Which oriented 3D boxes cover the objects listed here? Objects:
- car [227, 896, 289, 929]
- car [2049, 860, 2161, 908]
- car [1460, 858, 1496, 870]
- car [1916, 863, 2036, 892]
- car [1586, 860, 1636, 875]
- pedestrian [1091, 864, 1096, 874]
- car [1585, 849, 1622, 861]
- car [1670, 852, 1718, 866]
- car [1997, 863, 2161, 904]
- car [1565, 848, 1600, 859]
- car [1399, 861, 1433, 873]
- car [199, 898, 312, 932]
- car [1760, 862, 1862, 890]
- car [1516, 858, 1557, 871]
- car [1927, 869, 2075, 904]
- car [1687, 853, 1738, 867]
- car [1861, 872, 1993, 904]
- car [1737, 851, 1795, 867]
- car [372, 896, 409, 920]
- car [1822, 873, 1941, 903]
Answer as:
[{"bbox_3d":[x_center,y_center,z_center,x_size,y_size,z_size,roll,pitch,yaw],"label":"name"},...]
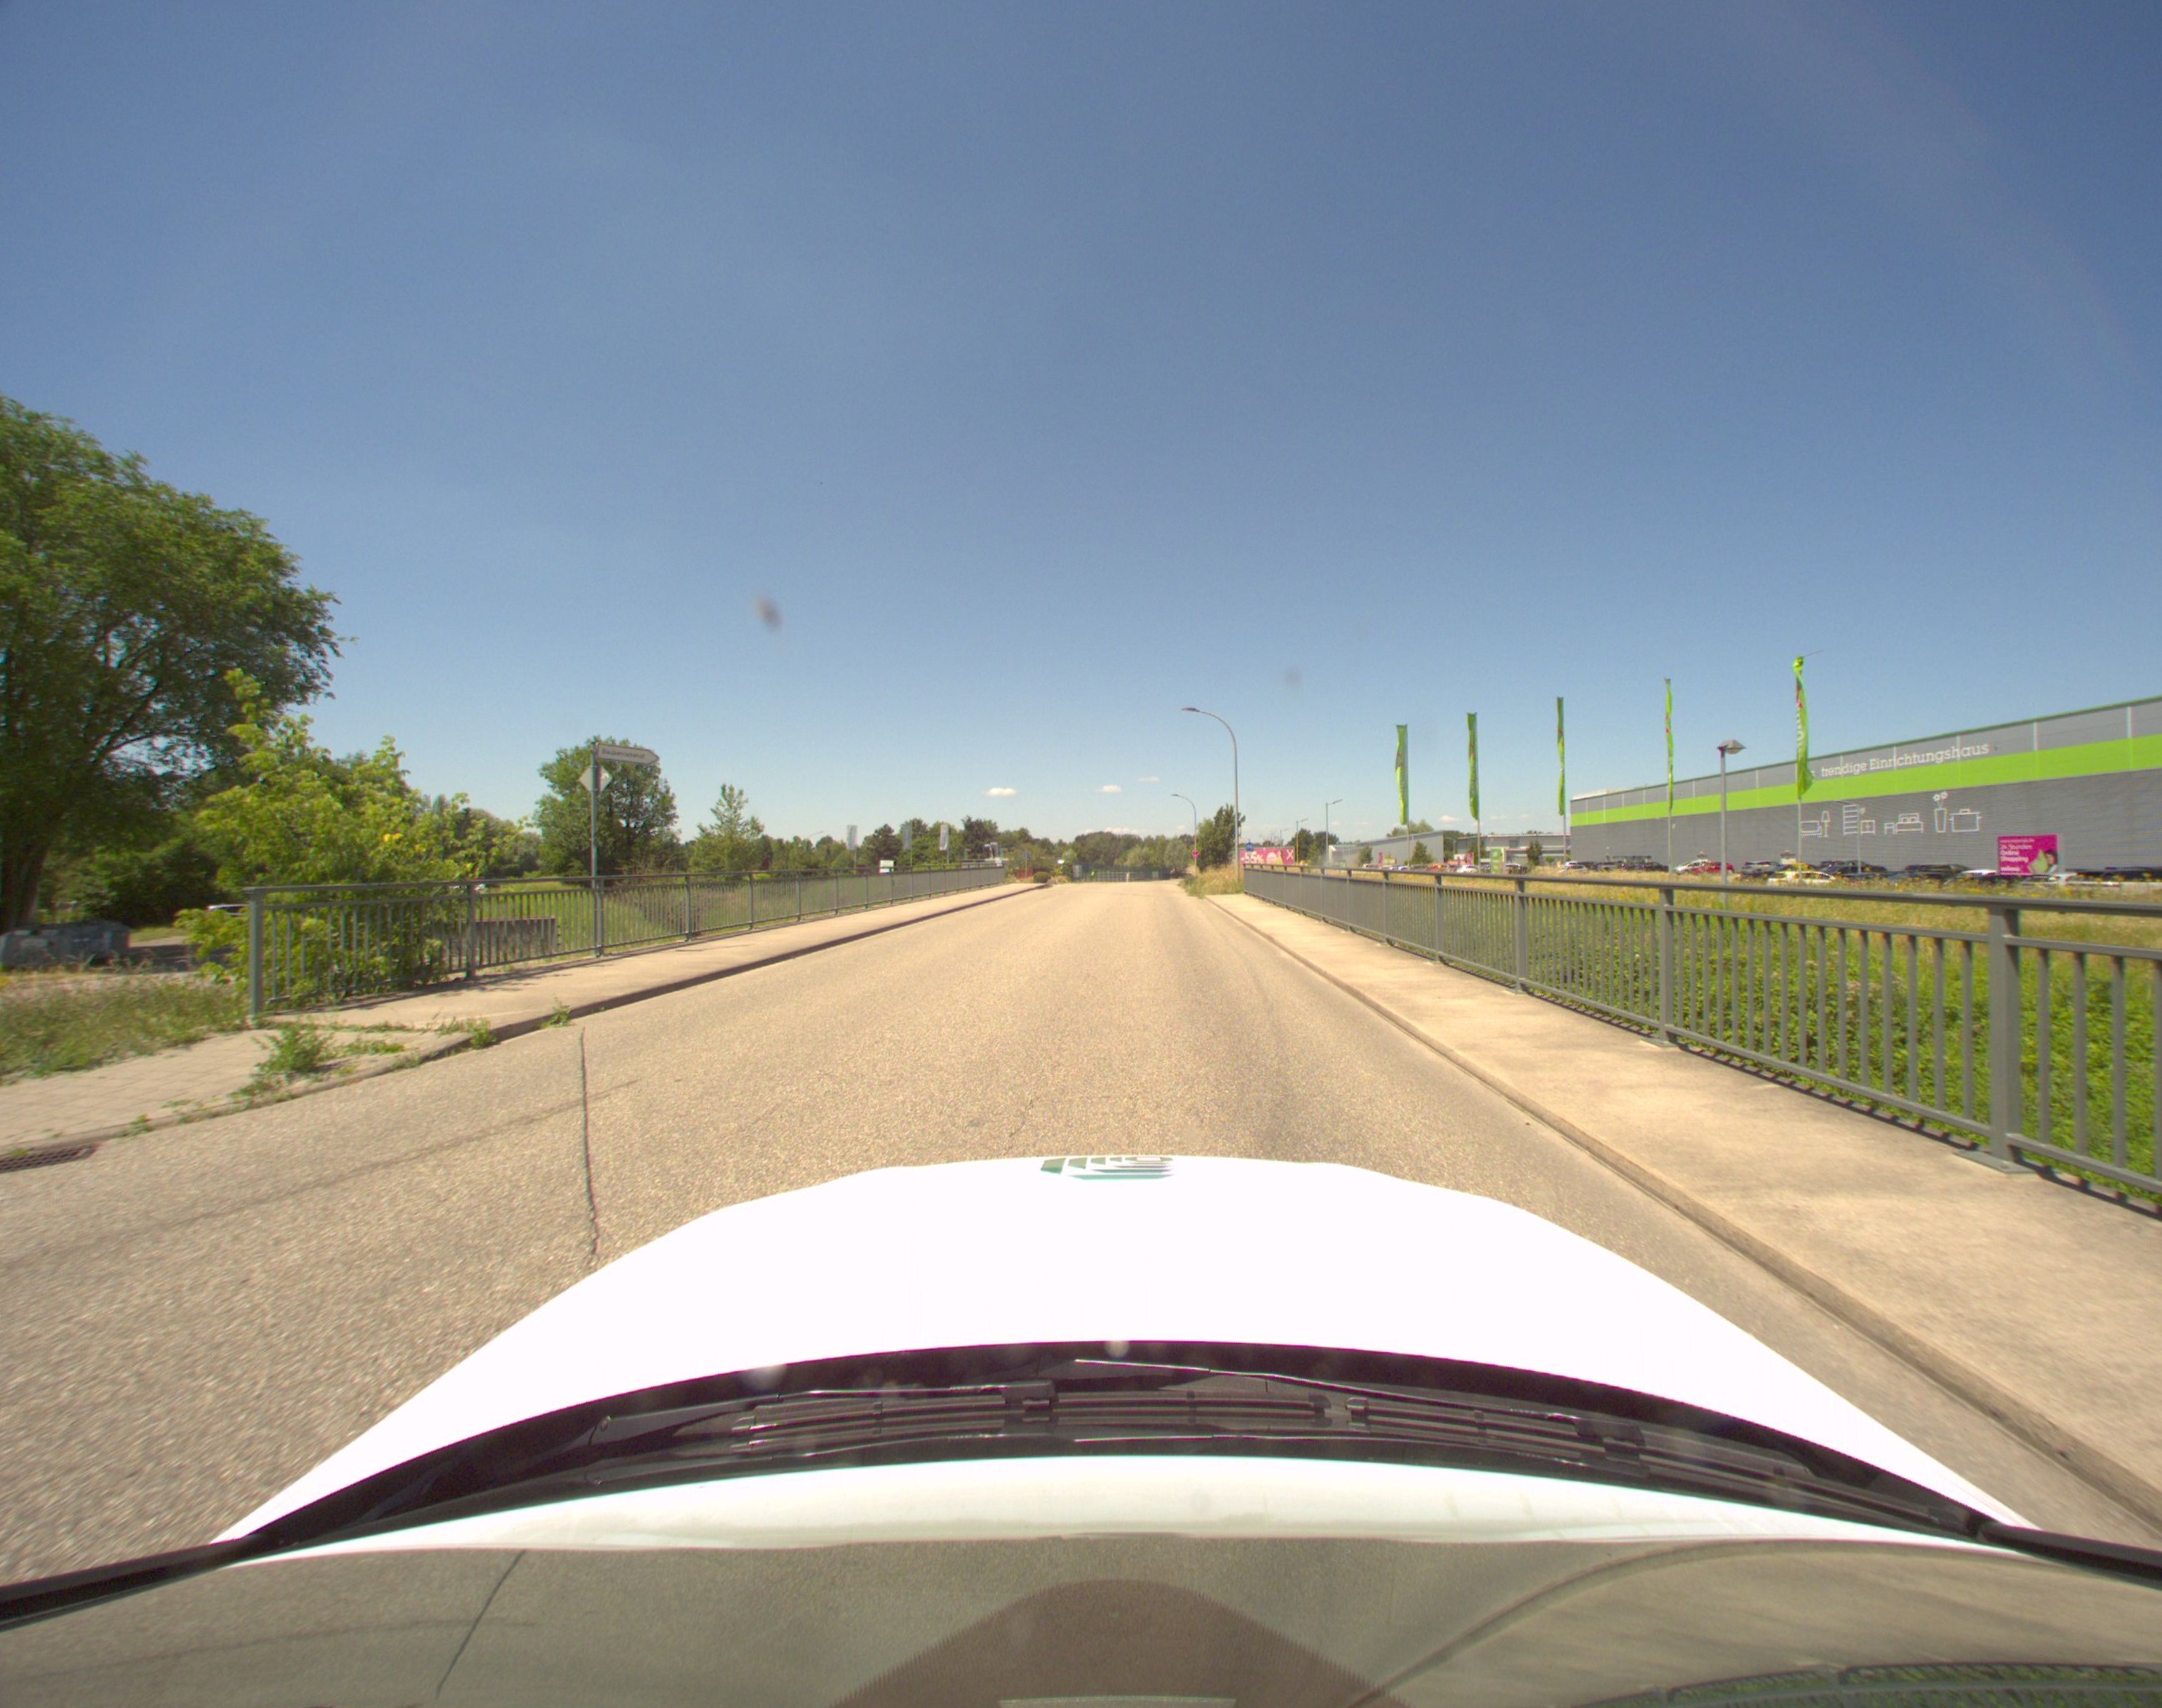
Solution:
[{"bbox_3d":[-50.074,3.495,49.647,1.884,1.751,3.957,-2,-1,-34],"label":"car"},{"bbox_3d":[39.204,1.091,30.165,3.962,1.697,1.921,-1,-2,10],"label":"car"},{"bbox_3d":[54.041,1.419,110.939,3.963,1.519,2.005,-1,-2,9],"label":"car"},{"bbox_3d":[48.085,1.266,43.858,3.962,1.505,1.953,-1,-2,10],"label":"car"},{"bbox_3d":[56.075,1.485,86.188,3.967,1.519,2.003,-1,-2,5],"label":"car"},{"bbox_3d":[2.357,2.818,153.564,0.601,1.839,0.807,-1,-2,12],"label":"pedestrian"},{"bbox_3d":[74.201,0.133,115.632,3.968,1.519,2.002,-1,-2,4],"label":"car"},{"bbox_3d":[69.892,0.598,92.912,3.968,1.475,2.002,-1,-2,4],"label":"car"},{"bbox_3d":[40.074,1.195,32.745,3.962,1.547,1.921,-1,-2,10],"label":"car"},{"bbox_3d":[75.147,-0.009,122.167,3.968,1.519,2.002,-1,-2,4],"label":"car"},{"bbox_3d":[42.227,1.632,102.704,3.712,1.570,1.896,0,-1,10],"label":"car"},{"bbox_3d":[-45.863,3.366,45.391,4.014,1.571,1.980,-2,0,-32],"label":"car"},{"bbox_3d":[42.429,1.282,47.436,3.962,1.531,1.953,-1,-2,10],"label":"car"},{"bbox_3d":[56.051,1.348,100.218,3.969,1.519,2.002,-1,-2,4],"label":"car"},{"bbox_3d":[40.447,1.439,35.913,3.962,1.462,1.921,-1,-2,10],"label":"car"},{"bbox_3d":[69.616,0.670,89.766,3.968,1.519,2.002,-1,-2,4],"label":"car"},{"bbox_3d":[40.604,1.625,39.190,3.962,1.462,1.953,-1,-2,10],"label":"car"},{"bbox_3d":[67.794,0.533,80.671,3.968,1.519,2.002,-1,-2,4],"label":"car"},{"bbox_3d":[-52.094,4.061,61.500,2.010,1.596,3.954,-1,0,-38],"label":"car"},{"bbox_3d":[41.372,1.775,42.203,3.962,1.462,1.953,-1,-2,10],"label":"car"}]
